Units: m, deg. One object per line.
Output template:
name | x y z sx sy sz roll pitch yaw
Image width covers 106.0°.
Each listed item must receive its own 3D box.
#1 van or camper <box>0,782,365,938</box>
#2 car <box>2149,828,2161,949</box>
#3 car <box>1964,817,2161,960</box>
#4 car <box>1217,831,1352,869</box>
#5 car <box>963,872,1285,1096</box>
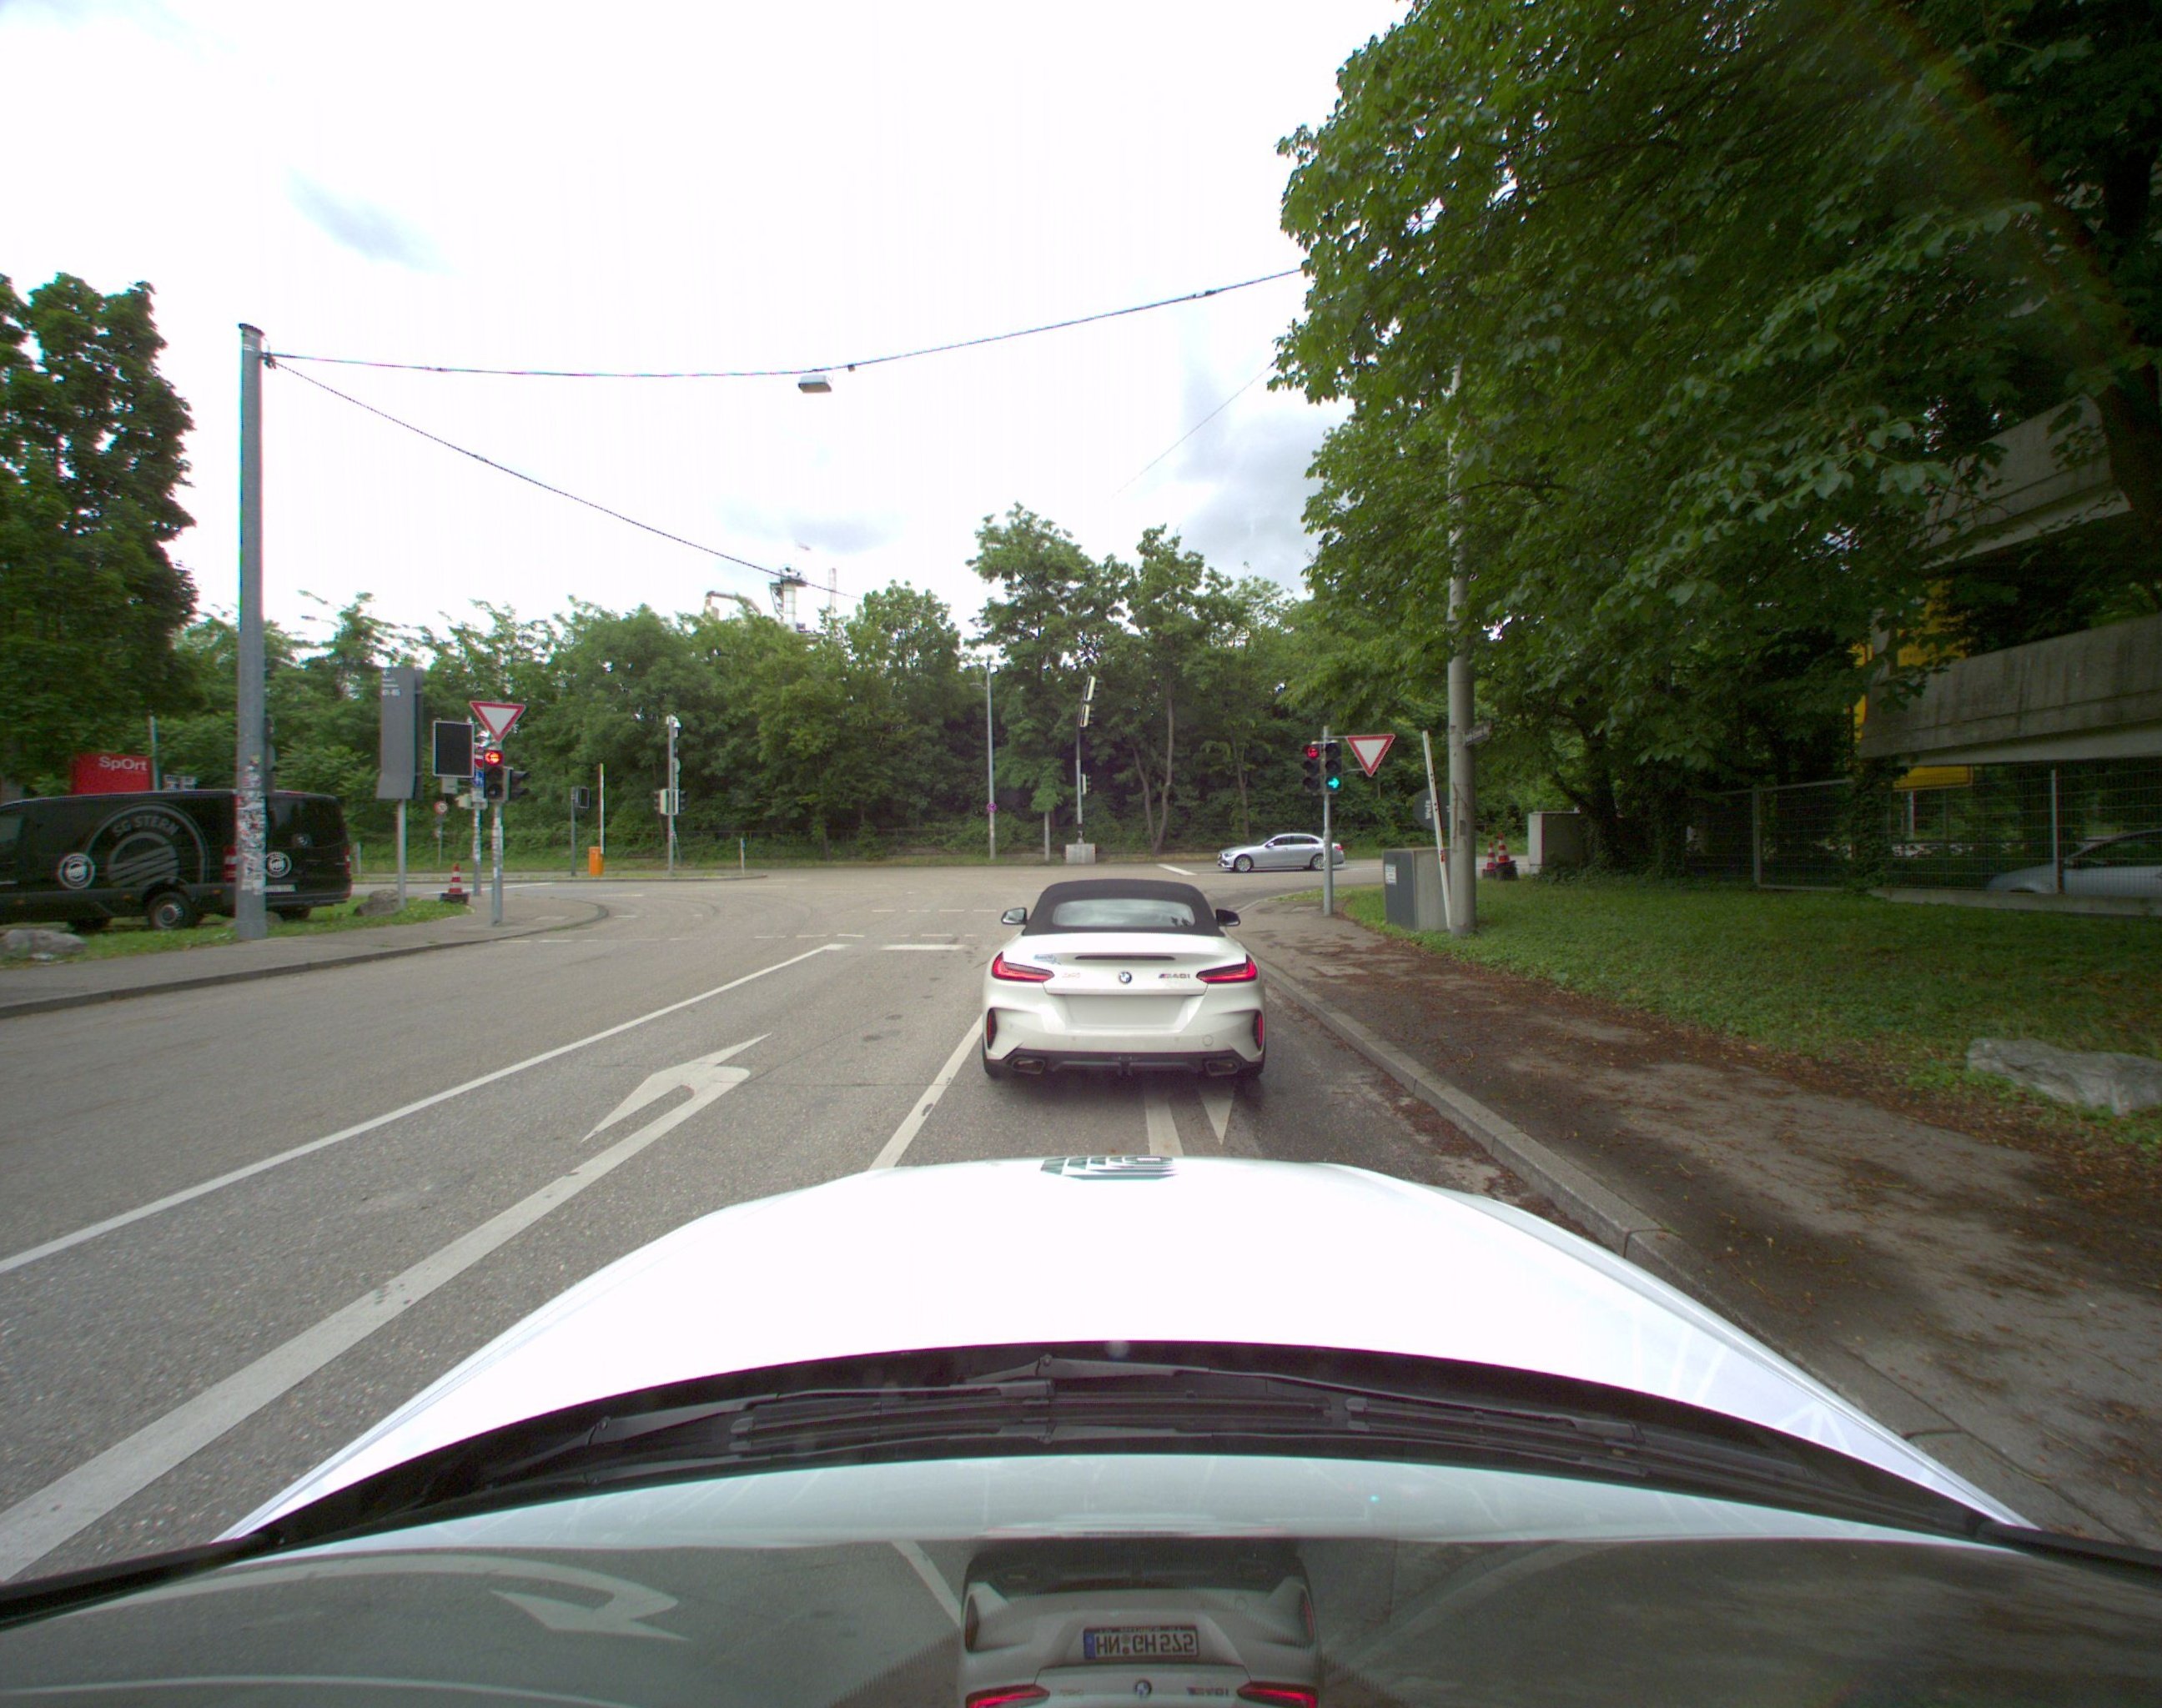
van or camper | -15.886 0.155 13.944 5.513 2.314 2.063 -2 -2 2
car | 16.011 0.449 9.740 1.574 1.708 3.770 0 -1 2
car | 13.618 0.423 10.047 1.475 1.708 3.720 0 -1 2
car | 7.665 -0.160 30.968 4.735 1.333 1.834 -1 2 0
car | 0.247 0.787 6.621 1.822 1.257 3.998 0 -1 0
